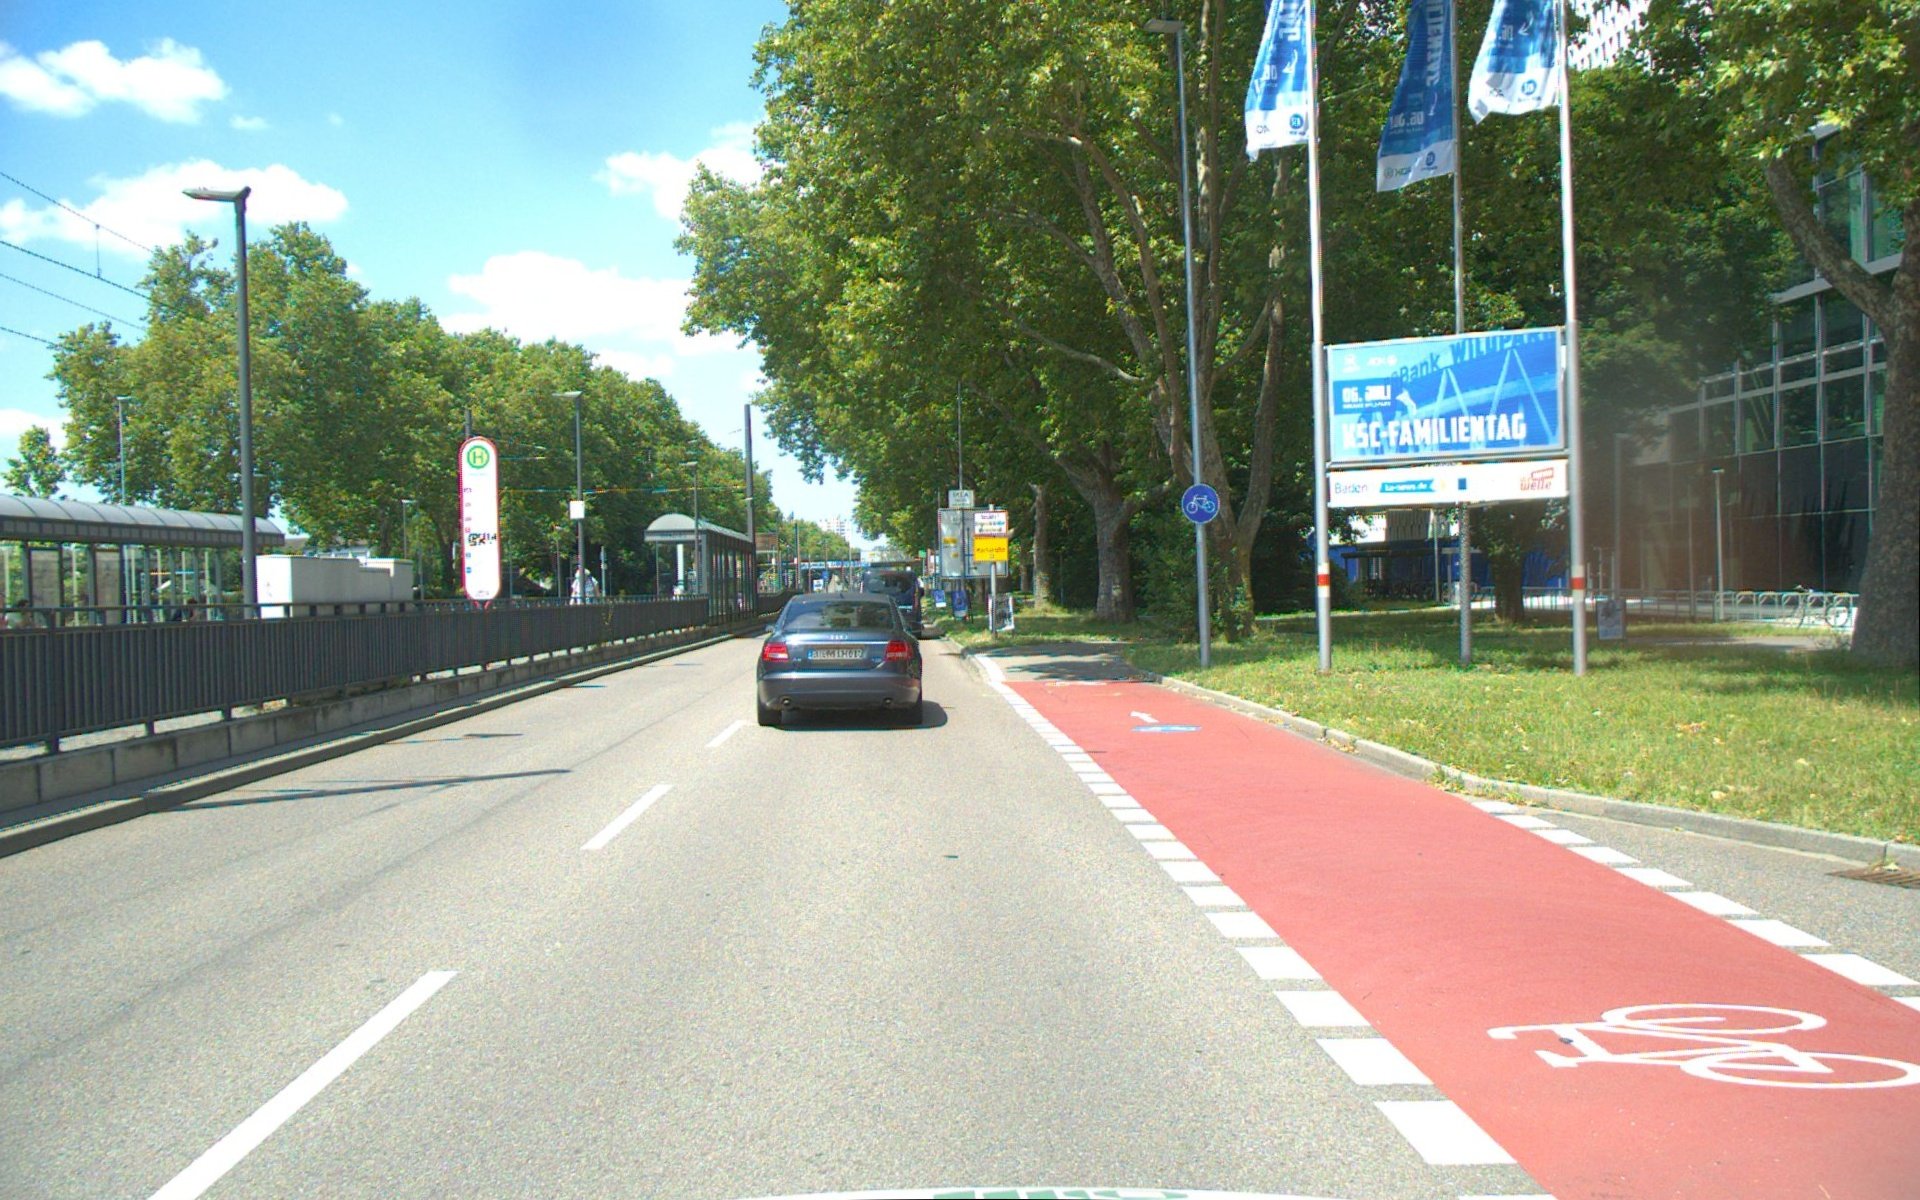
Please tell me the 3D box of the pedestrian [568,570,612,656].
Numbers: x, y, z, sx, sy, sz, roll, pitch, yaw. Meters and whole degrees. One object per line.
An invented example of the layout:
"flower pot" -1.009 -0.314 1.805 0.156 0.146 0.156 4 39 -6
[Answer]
"pedestrian" -7.430 0.259 33.259 0.718 1.694 0.742 -1 0 -3

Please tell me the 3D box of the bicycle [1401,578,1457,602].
"bicycle" 22.681 -0.467 79.989 2.497 1.130 0.757 -1 0 -7

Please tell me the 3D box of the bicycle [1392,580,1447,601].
"bicycle" 22.578 -0.464 81.255 2.497 0.987 0.757 -1 0 -7

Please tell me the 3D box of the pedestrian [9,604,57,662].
"pedestrian" -18.322 0.654 32.703 0.565 1.114 0.639 -1 0 -1

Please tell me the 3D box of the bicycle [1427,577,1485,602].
"bicycle" 23.001 -0.477 76.663 2.497 1.130 0.757 -1 0 -7

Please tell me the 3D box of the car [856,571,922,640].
"car" -2.103 0.150 49.954 1.810 1.994 4.144 0 0 0

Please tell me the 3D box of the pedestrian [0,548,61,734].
"pedestrian" -7.288 0.298 12.517 0.601 1.368 0.719 0 0 -4

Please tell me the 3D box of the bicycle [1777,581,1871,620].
"bicycle" 22.307 0.010 42.733 2.020 0.986 0.868 -1 0 -6

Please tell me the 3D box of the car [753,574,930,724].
"car" -1.295 0.483 18.982 1.805 1.510 3.998 -1 1 -2

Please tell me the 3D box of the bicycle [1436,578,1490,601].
"bicycle" 22.913 -0.482 75.360 2.271 0.977 0.757 -1 0 -7

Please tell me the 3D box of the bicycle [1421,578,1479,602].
"bicycle" 23.005 -0.474 77.651 2.497 1.130 0.757 -1 0 -7

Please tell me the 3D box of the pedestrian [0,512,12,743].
"pedestrian" -6.904 0.194 11.335 0.487 1.605 0.556 -1 0 -3

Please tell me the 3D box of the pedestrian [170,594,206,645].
"pedestrian" -18.782 0.468 40.258 0.565 1.211 0.639 -1 0 -1

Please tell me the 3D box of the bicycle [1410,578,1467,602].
"bicycle" 22.762 -0.471 78.731 2.497 1.130 0.757 -1 0 -7

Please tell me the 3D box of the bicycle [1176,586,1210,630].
"bicycle" 8.007 0.252 56.916 0.598 1.444 2.660 -3 0 -2
